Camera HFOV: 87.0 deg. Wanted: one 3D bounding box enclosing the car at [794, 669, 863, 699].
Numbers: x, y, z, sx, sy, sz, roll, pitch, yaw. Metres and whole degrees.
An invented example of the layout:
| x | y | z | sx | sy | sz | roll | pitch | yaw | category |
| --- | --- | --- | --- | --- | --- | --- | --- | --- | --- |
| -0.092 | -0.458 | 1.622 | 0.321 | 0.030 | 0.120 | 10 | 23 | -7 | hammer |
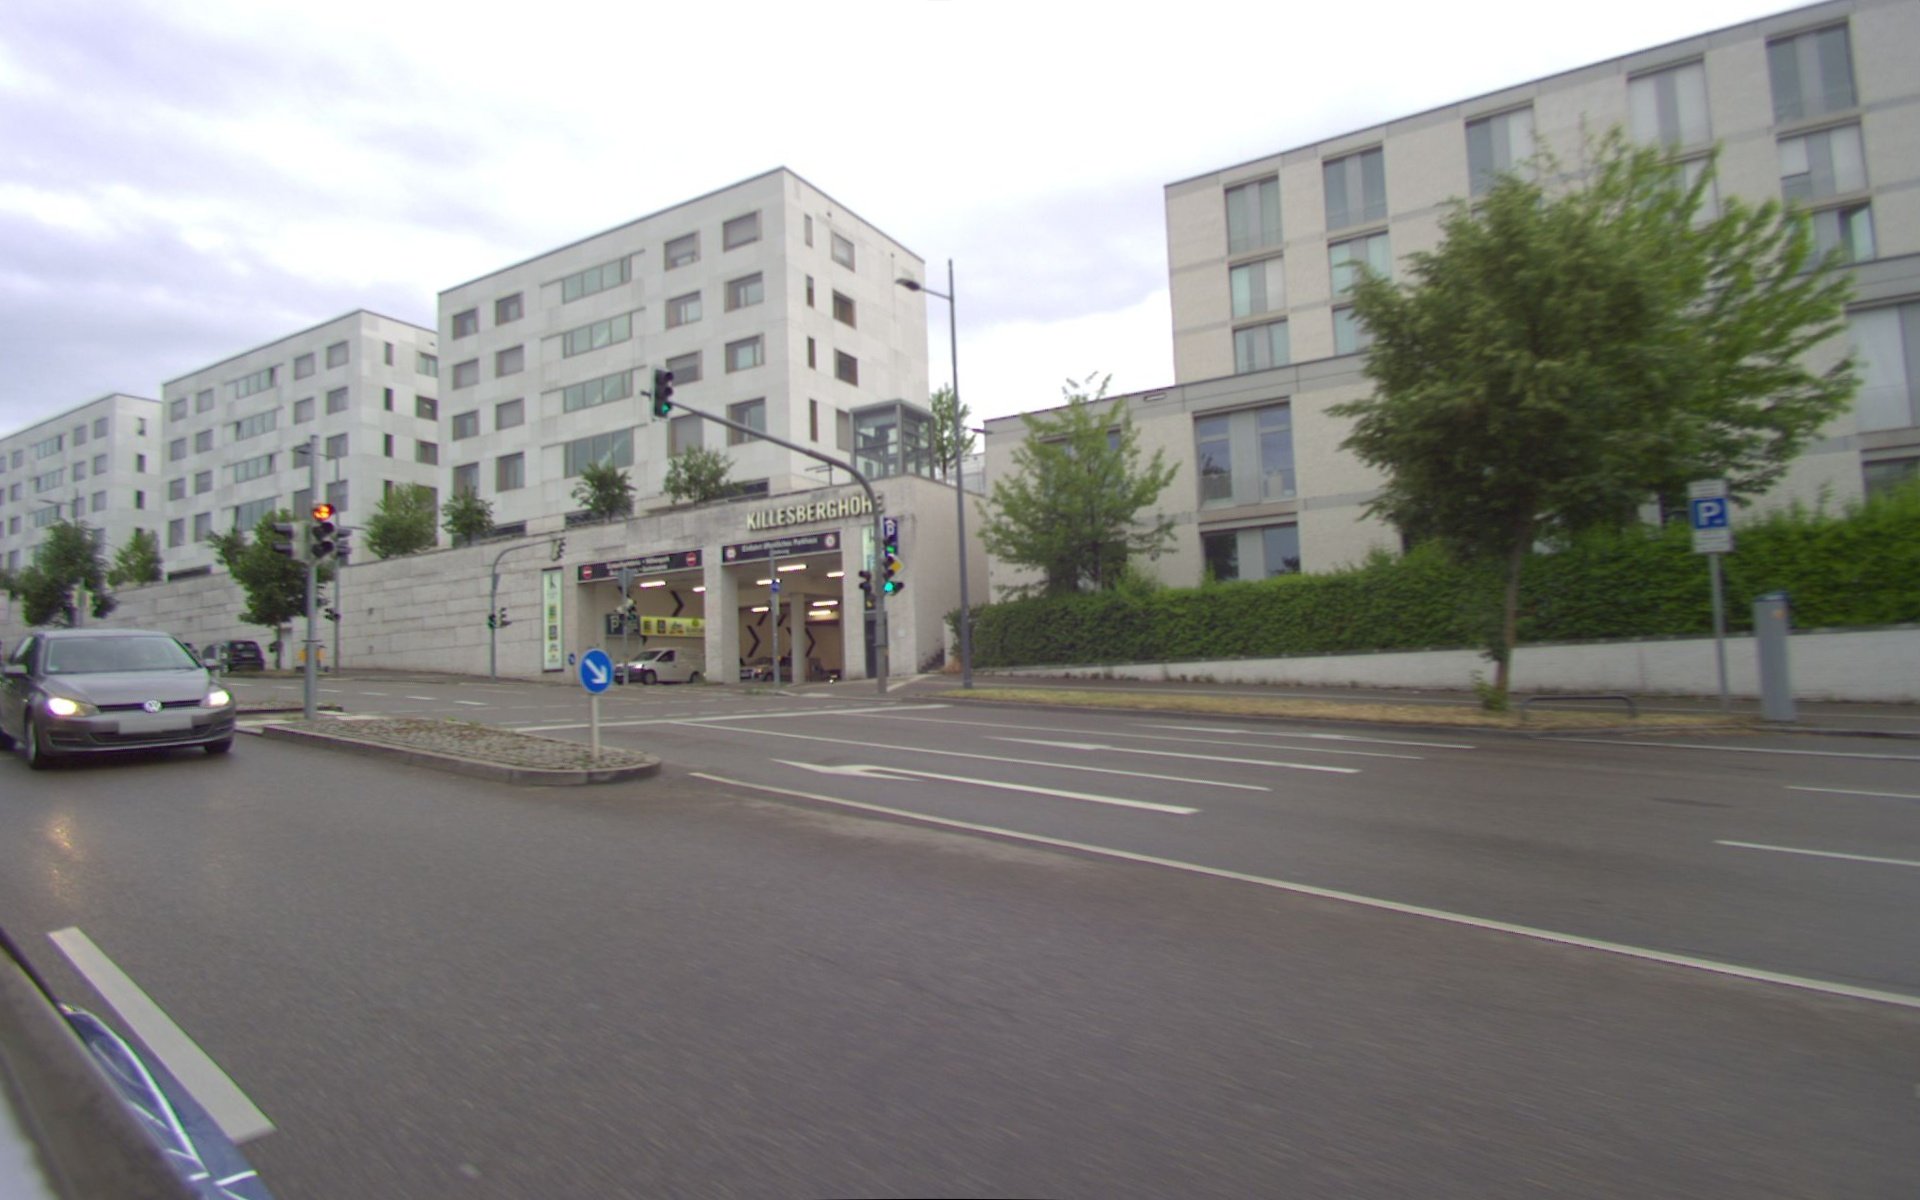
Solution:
| x | y | z | sx | sy | sz | roll | pitch | yaw | category |
| --- | --- | --- | --- | --- | --- | --- | --- | --- | --- |
| -7.152 | 4.586 | 55.628 | 1.602 | 1.455 | 4.158 | -2 | -3 | 30 | car |

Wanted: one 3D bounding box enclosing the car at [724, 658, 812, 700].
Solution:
| x | y | z | sx | sy | sz | roll | pitch | yaw | category |
| --- | --- | --- | --- | --- | --- | --- | --- | --- | --- |
| -8.722 | 3.568 | 46.318 | 1.793 | 1.785 | 3.958 | -2 | -3 | 30 | car |

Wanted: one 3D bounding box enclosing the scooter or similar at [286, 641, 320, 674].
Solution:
| x | y | z | sx | sy | sz | roll | pitch | yaw | category |
| --- | --- | --- | --- | --- | --- | --- | --- | --- | --- |
| -30.114 | 2.648 | 46.406 | 1.258 | 1.479 | 0.429 | 1 | -3 | -29 | scooter or similar |

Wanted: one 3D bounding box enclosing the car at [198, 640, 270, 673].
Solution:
| x | y | z | sx | sy | sz | roll | pitch | yaw | category |
| --- | --- | --- | --- | --- | --- | --- | --- | --- | --- |
| -33.848 | 2.616 | 47.208 | 2.682 | 1.470 | 1.666 | -1 | -3 | 27 | car |

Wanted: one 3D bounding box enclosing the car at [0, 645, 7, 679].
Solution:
| x | y | z | sx | sy | sz | roll | pitch | yaw | category |
| --- | --- | --- | --- | --- | --- | --- | --- | --- | --- |
| -60.075 | 3.854 | 61.573 | 4.369 | 2.029 | 1.905 | -4 | -3 | 31 | car |

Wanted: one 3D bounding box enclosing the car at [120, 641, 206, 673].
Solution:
| x | y | z | sx | sy | sz | roll | pitch | yaw | category |
| --- | --- | --- | --- | --- | --- | --- | --- | --- | --- |
| -39.080 | 2.770 | 49.611 | 3.980 | 1.489 | 1.846 | -2 | -3 | 28 | car |

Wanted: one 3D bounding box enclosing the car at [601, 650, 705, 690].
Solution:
| x | y | z | sx | sy | sz | roll | pitch | yaw | category |
| --- | --- | --- | --- | --- | --- | --- | --- | --- | --- |
| -13.466 | 3.026 | 44.695 | 1.990 | 1.664 | 4.306 | -1 | -3 | 27 | car |

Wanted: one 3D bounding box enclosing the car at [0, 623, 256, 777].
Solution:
| x | y | z | sx | sy | sz | roll | pitch | yaw | category |
| --- | --- | --- | --- | --- | --- | --- | --- | --- | --- |
| -9.932 | 1.028 | 11.703 | 4.292 | 1.452 | 1.852 | -2 | -3 | 40 | car |
